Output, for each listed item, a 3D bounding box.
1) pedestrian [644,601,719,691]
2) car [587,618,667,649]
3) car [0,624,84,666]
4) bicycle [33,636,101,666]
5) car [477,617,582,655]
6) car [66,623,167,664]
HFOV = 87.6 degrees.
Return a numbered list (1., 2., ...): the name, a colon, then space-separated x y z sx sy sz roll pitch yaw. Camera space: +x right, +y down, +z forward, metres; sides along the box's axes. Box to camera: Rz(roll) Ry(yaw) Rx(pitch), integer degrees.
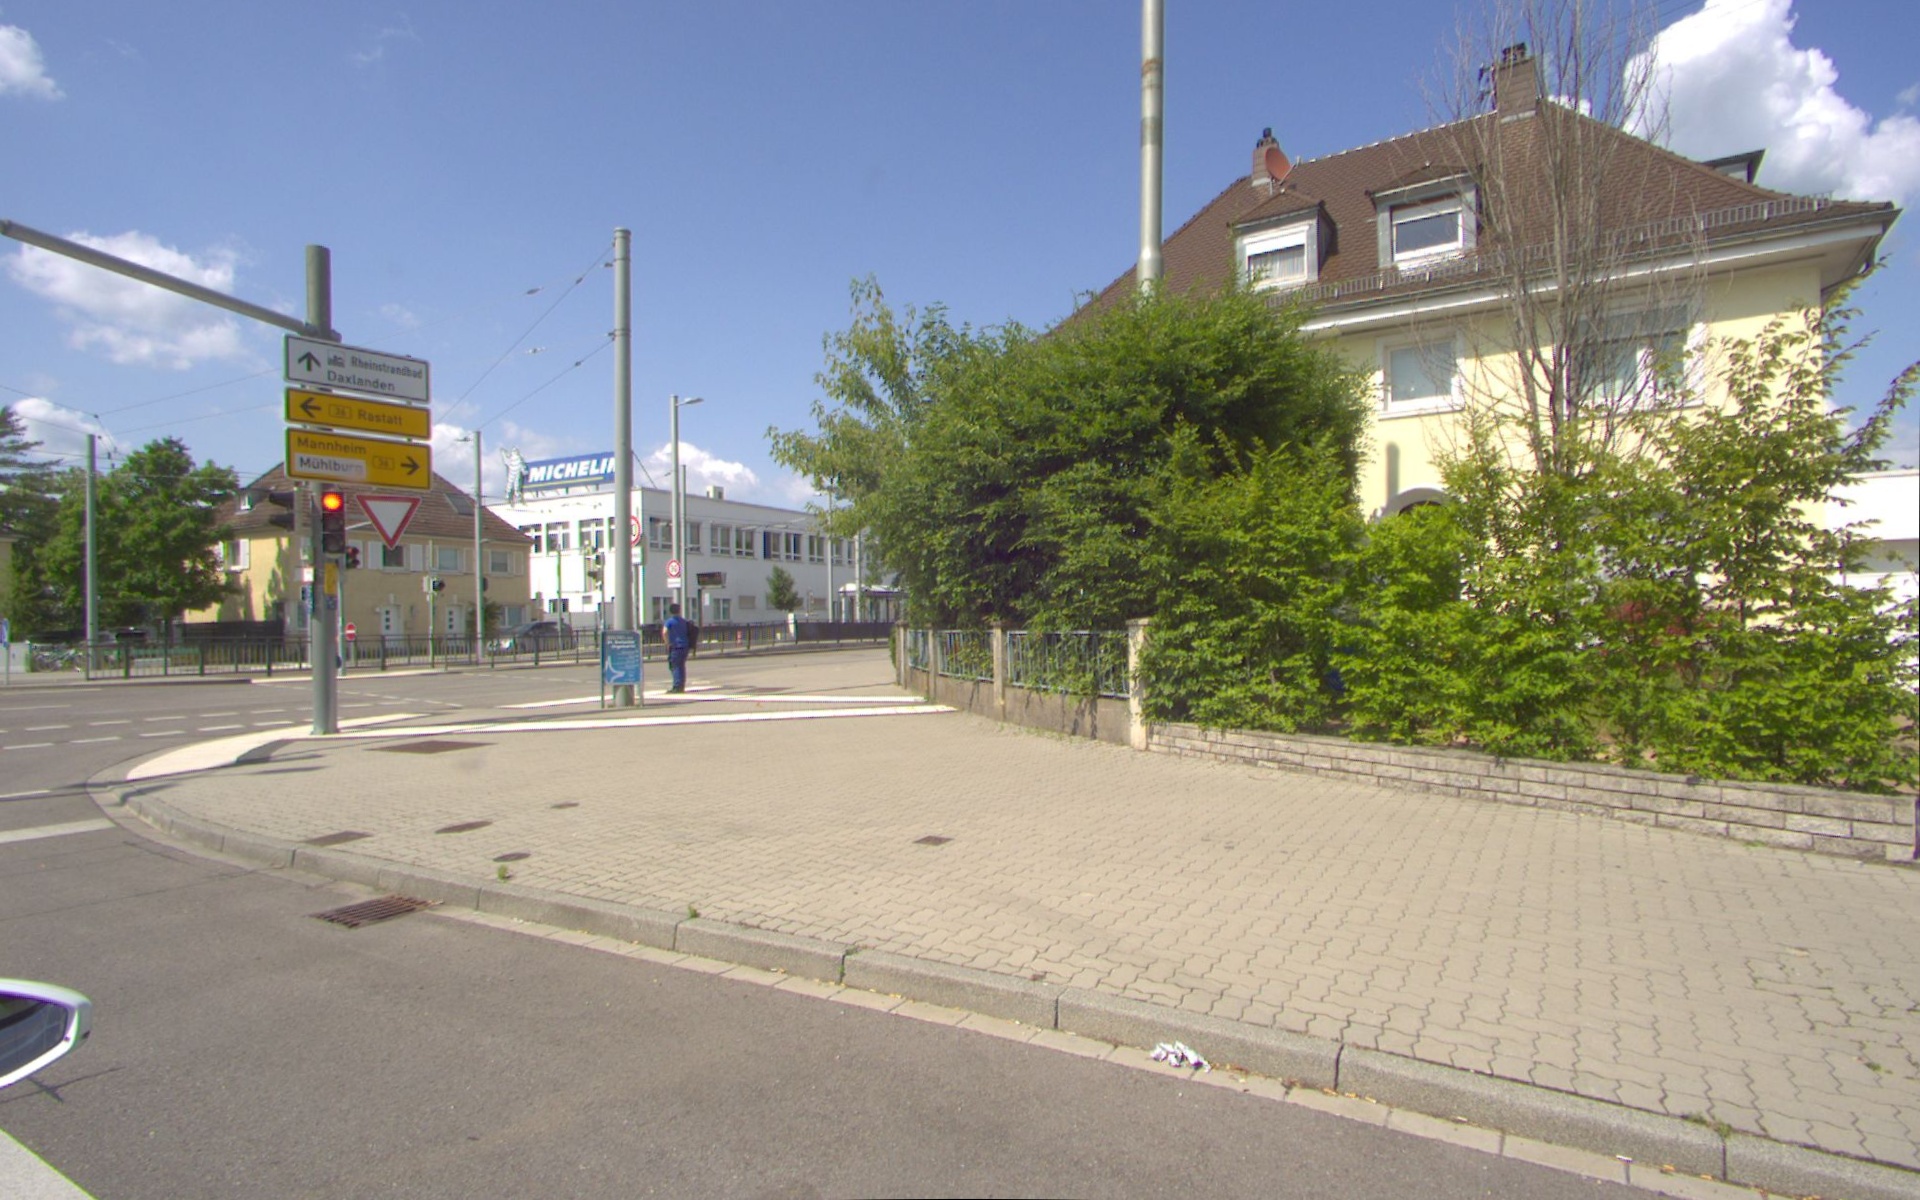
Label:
1. pedestrian: -5.615 0.912 20.210 1.025 1.757 1.028 -1 0 29
2. car: -16.504 1.663 49.802 1.553 1.465 3.705 -1 -1 30
3. car: -39.407 1.919 42.467 3.934 1.641 1.823 -3 -1 23
4. bicycle: -34.051 1.937 38.205 1.777 1.119 0.701 -1 -1 -19
5. car: -19.002 1.564 44.344 1.815 1.589 3.981 -1 -1 30
6. car: -37.613 1.948 44.654 3.934 1.641 1.823 -3 -1 23
